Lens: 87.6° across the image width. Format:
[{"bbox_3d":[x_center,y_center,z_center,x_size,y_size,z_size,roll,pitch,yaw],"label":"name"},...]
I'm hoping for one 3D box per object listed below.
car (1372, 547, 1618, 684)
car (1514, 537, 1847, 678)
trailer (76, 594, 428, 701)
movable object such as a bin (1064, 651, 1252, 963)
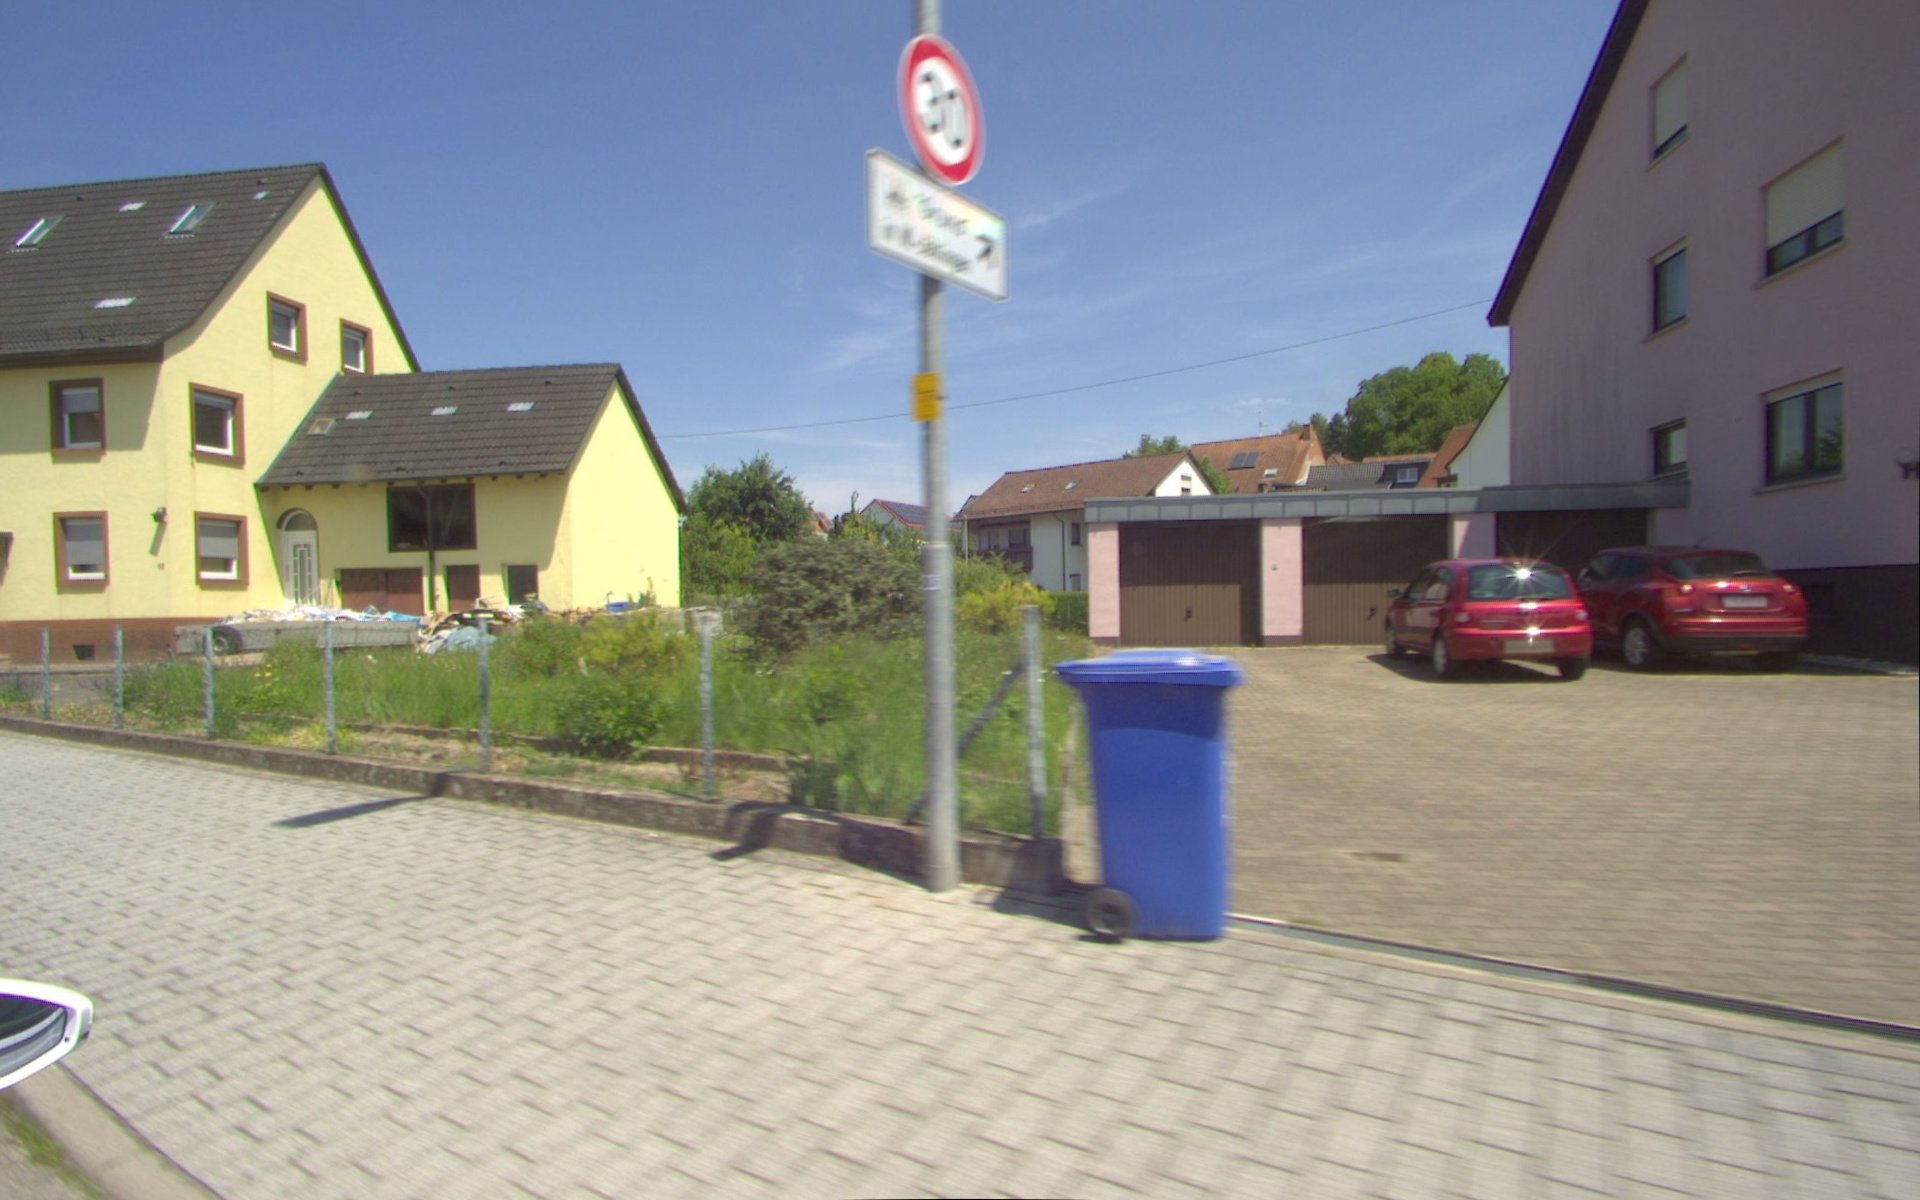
[{"bbox_3d":[6.772,0.150,13.132,1.728,1.506,3.834,-1,1,10],"label":"car"},{"bbox_3d":[9.320,0.115,13.451,1.815,1.568,4.125,-1,-1,6],"label":"car"},{"bbox_3d":[-12.020,0.761,17.645,2.097,1.566,5.365,-1,-1,5],"label":"trailer"},{"bbox_3d":[0.787,0.751,3.891,0.639,1.071,0.565,-1,1,18],"label":"movable object such as a bin"}]
